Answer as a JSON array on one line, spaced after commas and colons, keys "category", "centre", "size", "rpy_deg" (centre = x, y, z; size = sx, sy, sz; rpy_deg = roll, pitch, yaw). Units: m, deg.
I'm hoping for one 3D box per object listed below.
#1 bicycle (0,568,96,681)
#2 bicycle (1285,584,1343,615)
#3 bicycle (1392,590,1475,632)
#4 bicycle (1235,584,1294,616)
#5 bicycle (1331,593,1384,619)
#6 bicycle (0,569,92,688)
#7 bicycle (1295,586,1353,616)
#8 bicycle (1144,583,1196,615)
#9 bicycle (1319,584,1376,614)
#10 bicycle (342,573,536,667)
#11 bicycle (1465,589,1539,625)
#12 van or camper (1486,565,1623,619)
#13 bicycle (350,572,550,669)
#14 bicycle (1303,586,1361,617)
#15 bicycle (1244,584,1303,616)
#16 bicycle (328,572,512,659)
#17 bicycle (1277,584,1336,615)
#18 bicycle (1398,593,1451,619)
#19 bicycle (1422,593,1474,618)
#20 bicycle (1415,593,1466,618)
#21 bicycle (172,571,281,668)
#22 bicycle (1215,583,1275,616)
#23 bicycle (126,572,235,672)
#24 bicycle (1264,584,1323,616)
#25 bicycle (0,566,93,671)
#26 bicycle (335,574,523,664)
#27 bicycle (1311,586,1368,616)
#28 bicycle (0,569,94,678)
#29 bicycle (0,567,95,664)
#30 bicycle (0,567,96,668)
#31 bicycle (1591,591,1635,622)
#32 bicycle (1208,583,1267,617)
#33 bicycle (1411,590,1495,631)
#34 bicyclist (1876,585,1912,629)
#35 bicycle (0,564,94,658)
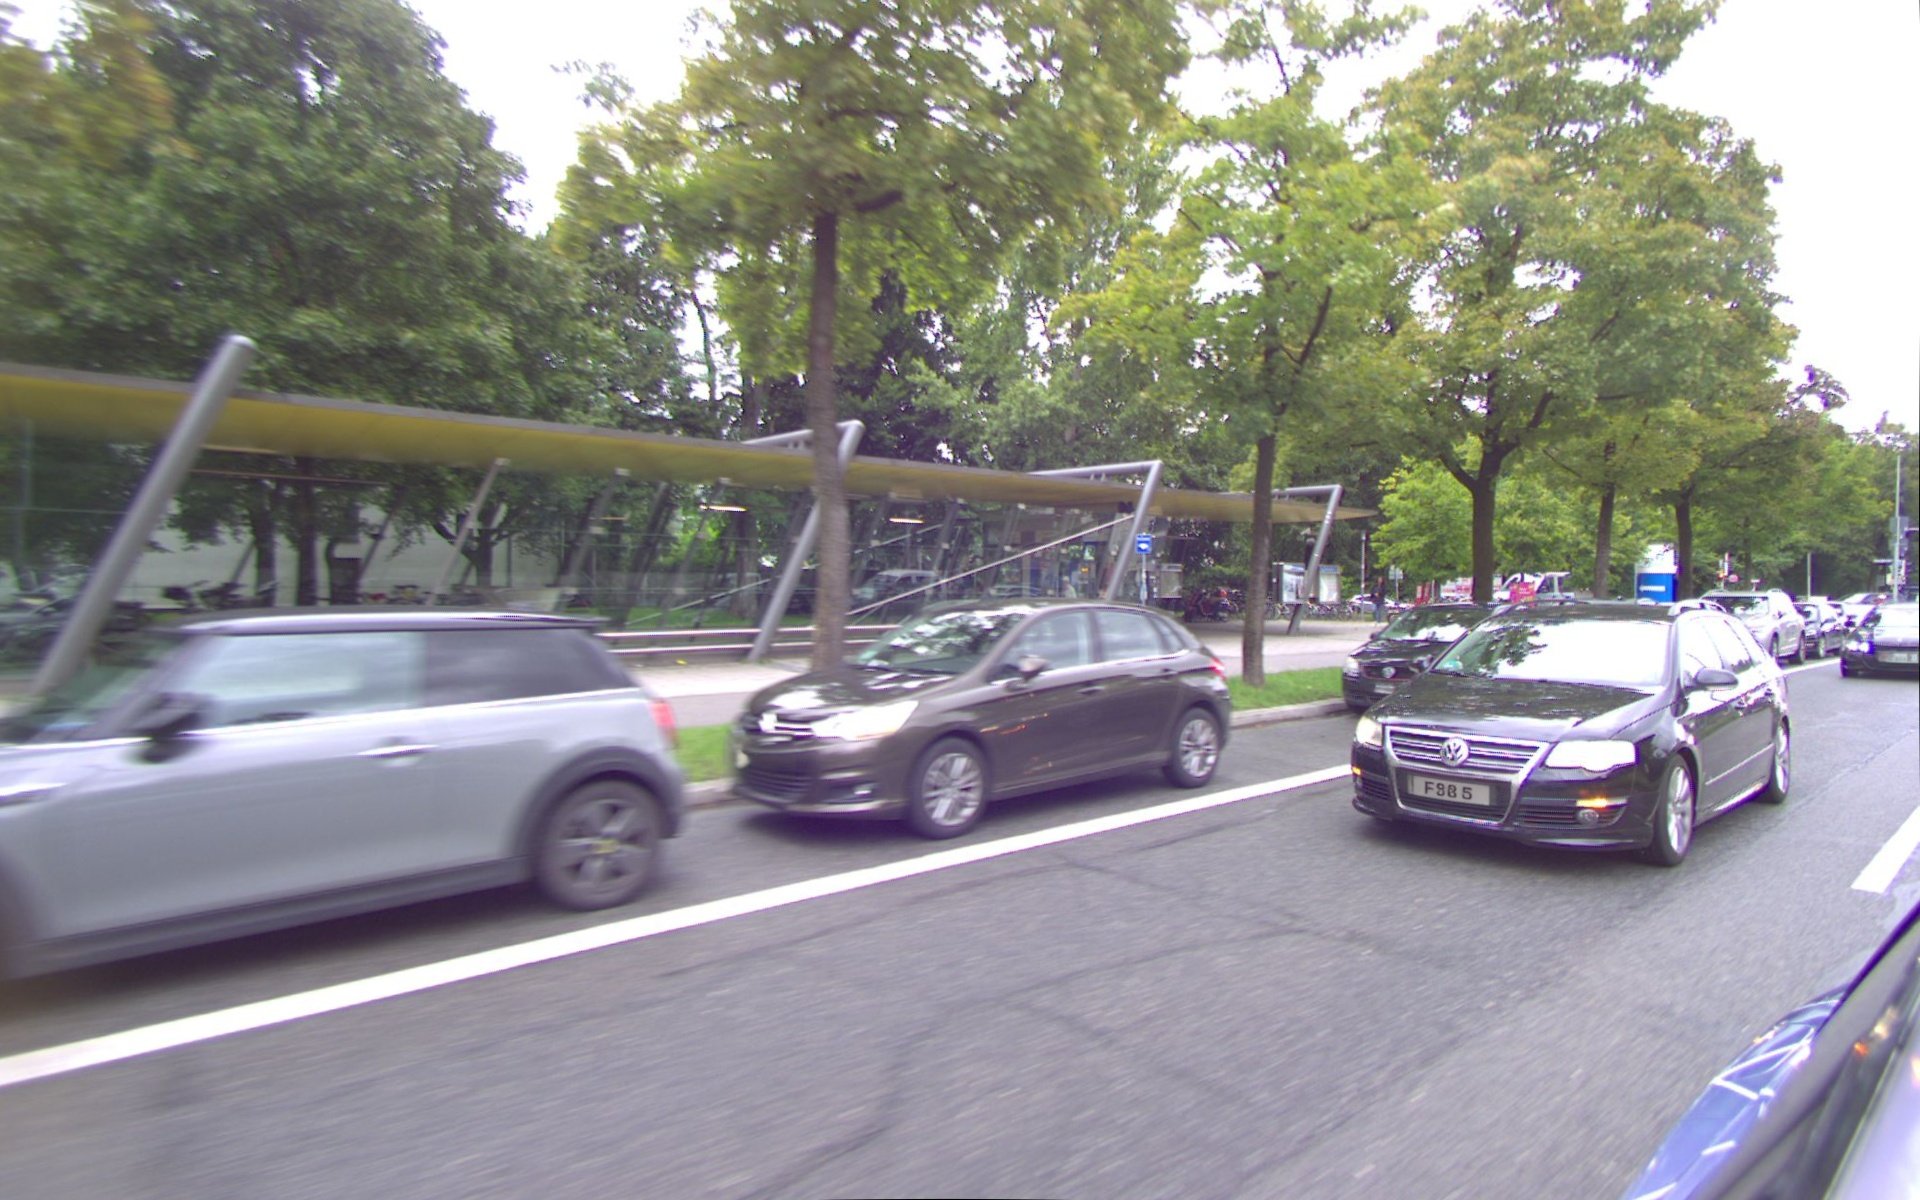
[{"category": "bicycle", "centre": [-11.489, 0.276, 11.519], "size": [2.506, 1.296, 0.646], "rpy_deg": [0, 1, -41]}, {"category": "bicycle", "centre": [15.049, -0.034, 43.133], "size": [0.520, 1.171, 2.344], "rpy_deg": [1, 3, -40]}, {"category": "bicycle", "centre": [15.127, 0.328, 32.397], "size": [0.520, 1.171, 2.344], "rpy_deg": [1, 3, -40]}, {"category": "bicycle", "centre": [12.277, -0.021, 40.917], "size": [0.520, 1.171, 2.344], "rpy_deg": [1, 3, -40]}, {"category": "bicycle", "centre": [17.936, 0.265, 45.676], "size": [2.092, 1.168, 0.717], "rpy_deg": [1, 1, 7]}, {"category": "bicycle", "centre": [-11.047, 0.311, 10.950], "size": [2.506, 1.296, 0.646], "rpy_deg": [0, 1, -41]}, {"category": "bicycle", "centre": [15.634, 0.028, 43.491], "size": [0.520, 1.171, 2.344], "rpy_deg": [1, 3, -40]}, {"category": "bicycle", "centre": [7.974, -0.029, 38.310], "size": [2.303, 1.171, 0.529], "rpy_deg": [0, 3, -38]}, {"category": "bicycle", "centre": [17.031, -0.042, 44.532], "size": [0.520, 1.171, 2.344], "rpy_deg": [1, 3, -40]}, {"category": "bicycle", "centre": [-7.737, 0.265, 15.128], "size": [2.506, 1.296, 0.646], "rpy_deg": [0, 1, -41]}, {"category": "bicycle", "centre": [20.184, 0.234, 37.713], "size": [0.574, 1.171, 2.344], "rpy_deg": [0, 3, -40]}, {"category": "van or camper", "centre": [26.970, -0.352, 45.858], "size": [6.069, 2.325, 2.153], "rpy_deg": [0, 1, -23]}, {"category": "bicycle", "centre": [-7.306, 0.266, 14.613], "size": [2.506, 1.296, 0.646], "rpy_deg": [0, 1, -41]}, {"category": "bicycle", "centre": [16.101, 0.042, 43.829], "size": [0.520, 1.171, 2.344], "rpy_deg": [1, 3, -40]}, {"category": "bicycle", "centre": [12.757, -0.023, 41.251], "size": [0.520, 1.171, 2.344], "rpy_deg": [1, 3, -40]}, {"category": "bicycle", "centre": [-8.576, 0.222, 16.170], "size": [2.506, 1.296, 0.646], "rpy_deg": [0, 1, -41]}, {"category": "bicycle", "centre": [14.563, -0.031, 42.607], "size": [0.520, 1.171, 2.344], "rpy_deg": [1, 3, -40]}, {"category": "bicycle", "centre": [21.539, 0.254, 46.948], "size": [2.088, 1.168, 0.718], "rpy_deg": [1, 1, 0]}, {"category": "bicycle", "centre": [23.032, 0.248, 47.768], "size": [2.088, 1.168, 0.718], "rpy_deg": [1, 1, 0]}, {"category": "bicycle", "centre": [23.053, 0.247, 48.574], "size": [2.088, 1.168, 0.718], "rpy_deg": [1, 1, 0]}, {"category": "bicycle", "centre": [-10.592, 0.244, 14.580], "size": [2.534, 1.296, 0.486], "rpy_deg": [1, 1, 35]}, {"category": "bicycle", "centre": [11.375, -0.018, 40.457], "size": [0.520, 1.171, 2.344], "rpy_deg": [1, 3, -40]}, {"category": "bicycle", "centre": [-10.908, 0.260, 14.130], "size": [2.534, 1.296, 0.486], "rpy_deg": [1, 1, 35]}, {"category": "bicycle", "centre": [13.798, -0.028, 41.903], "size": [0.520, 1.171, 2.344], "rpy_deg": [1, 3, -40]}, {"category": "bicycle", "centre": [-12.383, 0.226, 12.531], "size": [2.506, 1.296, 0.646], "rpy_deg": [0, 1, -41]}, {"category": "bicycle", "centre": [-8.161, 0.262, 15.650], "size": [2.506, 1.296, 0.646], "rpy_deg": [0, 1, -41]}, {"category": "bicycle", "centre": [16.543, 0.035, 44.206], "size": [0.520, 1.171, 2.344], "rpy_deg": [1, 3, -40]}, {"category": "bicycle", "centre": [-11.942, 0.277, 12.024], "size": [2.506, 1.296, 0.646], "rpy_deg": [0, 1, -41]}, {"category": "bicycle", "centre": [-13.229, 0.199, 13.539], "size": [2.506, 1.296, 0.605], "rpy_deg": [0, 1, -41]}, {"category": "bicycle", "centre": [-12.798, 0.218, 13.056], "size": [2.506, 1.296, 0.646], "rpy_deg": [0, 1, -41]}, {"category": "bicycle", "centre": [27.305, 0.254, 42.321], "size": [1.962, 1.213, 0.864], "rpy_deg": [0, 2, -37]}, {"category": "bicycle", "centre": [10.939, -0.016, 40.004], "size": [0.520, 1.171, 2.344], "rpy_deg": [1, 3, -40]}, {"category": "bicycle", "centre": [15.956, 0.325, 32.806], "size": [2.337, 1.171, 0.521], "rpy_deg": [5, 3, 42]}, {"category": "bicyclist", "centre": [38.715, 0.276, 41.972], "size": [0.815, 1.786, 0.743], "rpy_deg": [1, 1, 14]}, {"category": "bicycle", "centre": [-13.645, 0.150, 14.006], "size": [2.506, 1.296, 0.605], "rpy_deg": [0, 1, -41]}]
